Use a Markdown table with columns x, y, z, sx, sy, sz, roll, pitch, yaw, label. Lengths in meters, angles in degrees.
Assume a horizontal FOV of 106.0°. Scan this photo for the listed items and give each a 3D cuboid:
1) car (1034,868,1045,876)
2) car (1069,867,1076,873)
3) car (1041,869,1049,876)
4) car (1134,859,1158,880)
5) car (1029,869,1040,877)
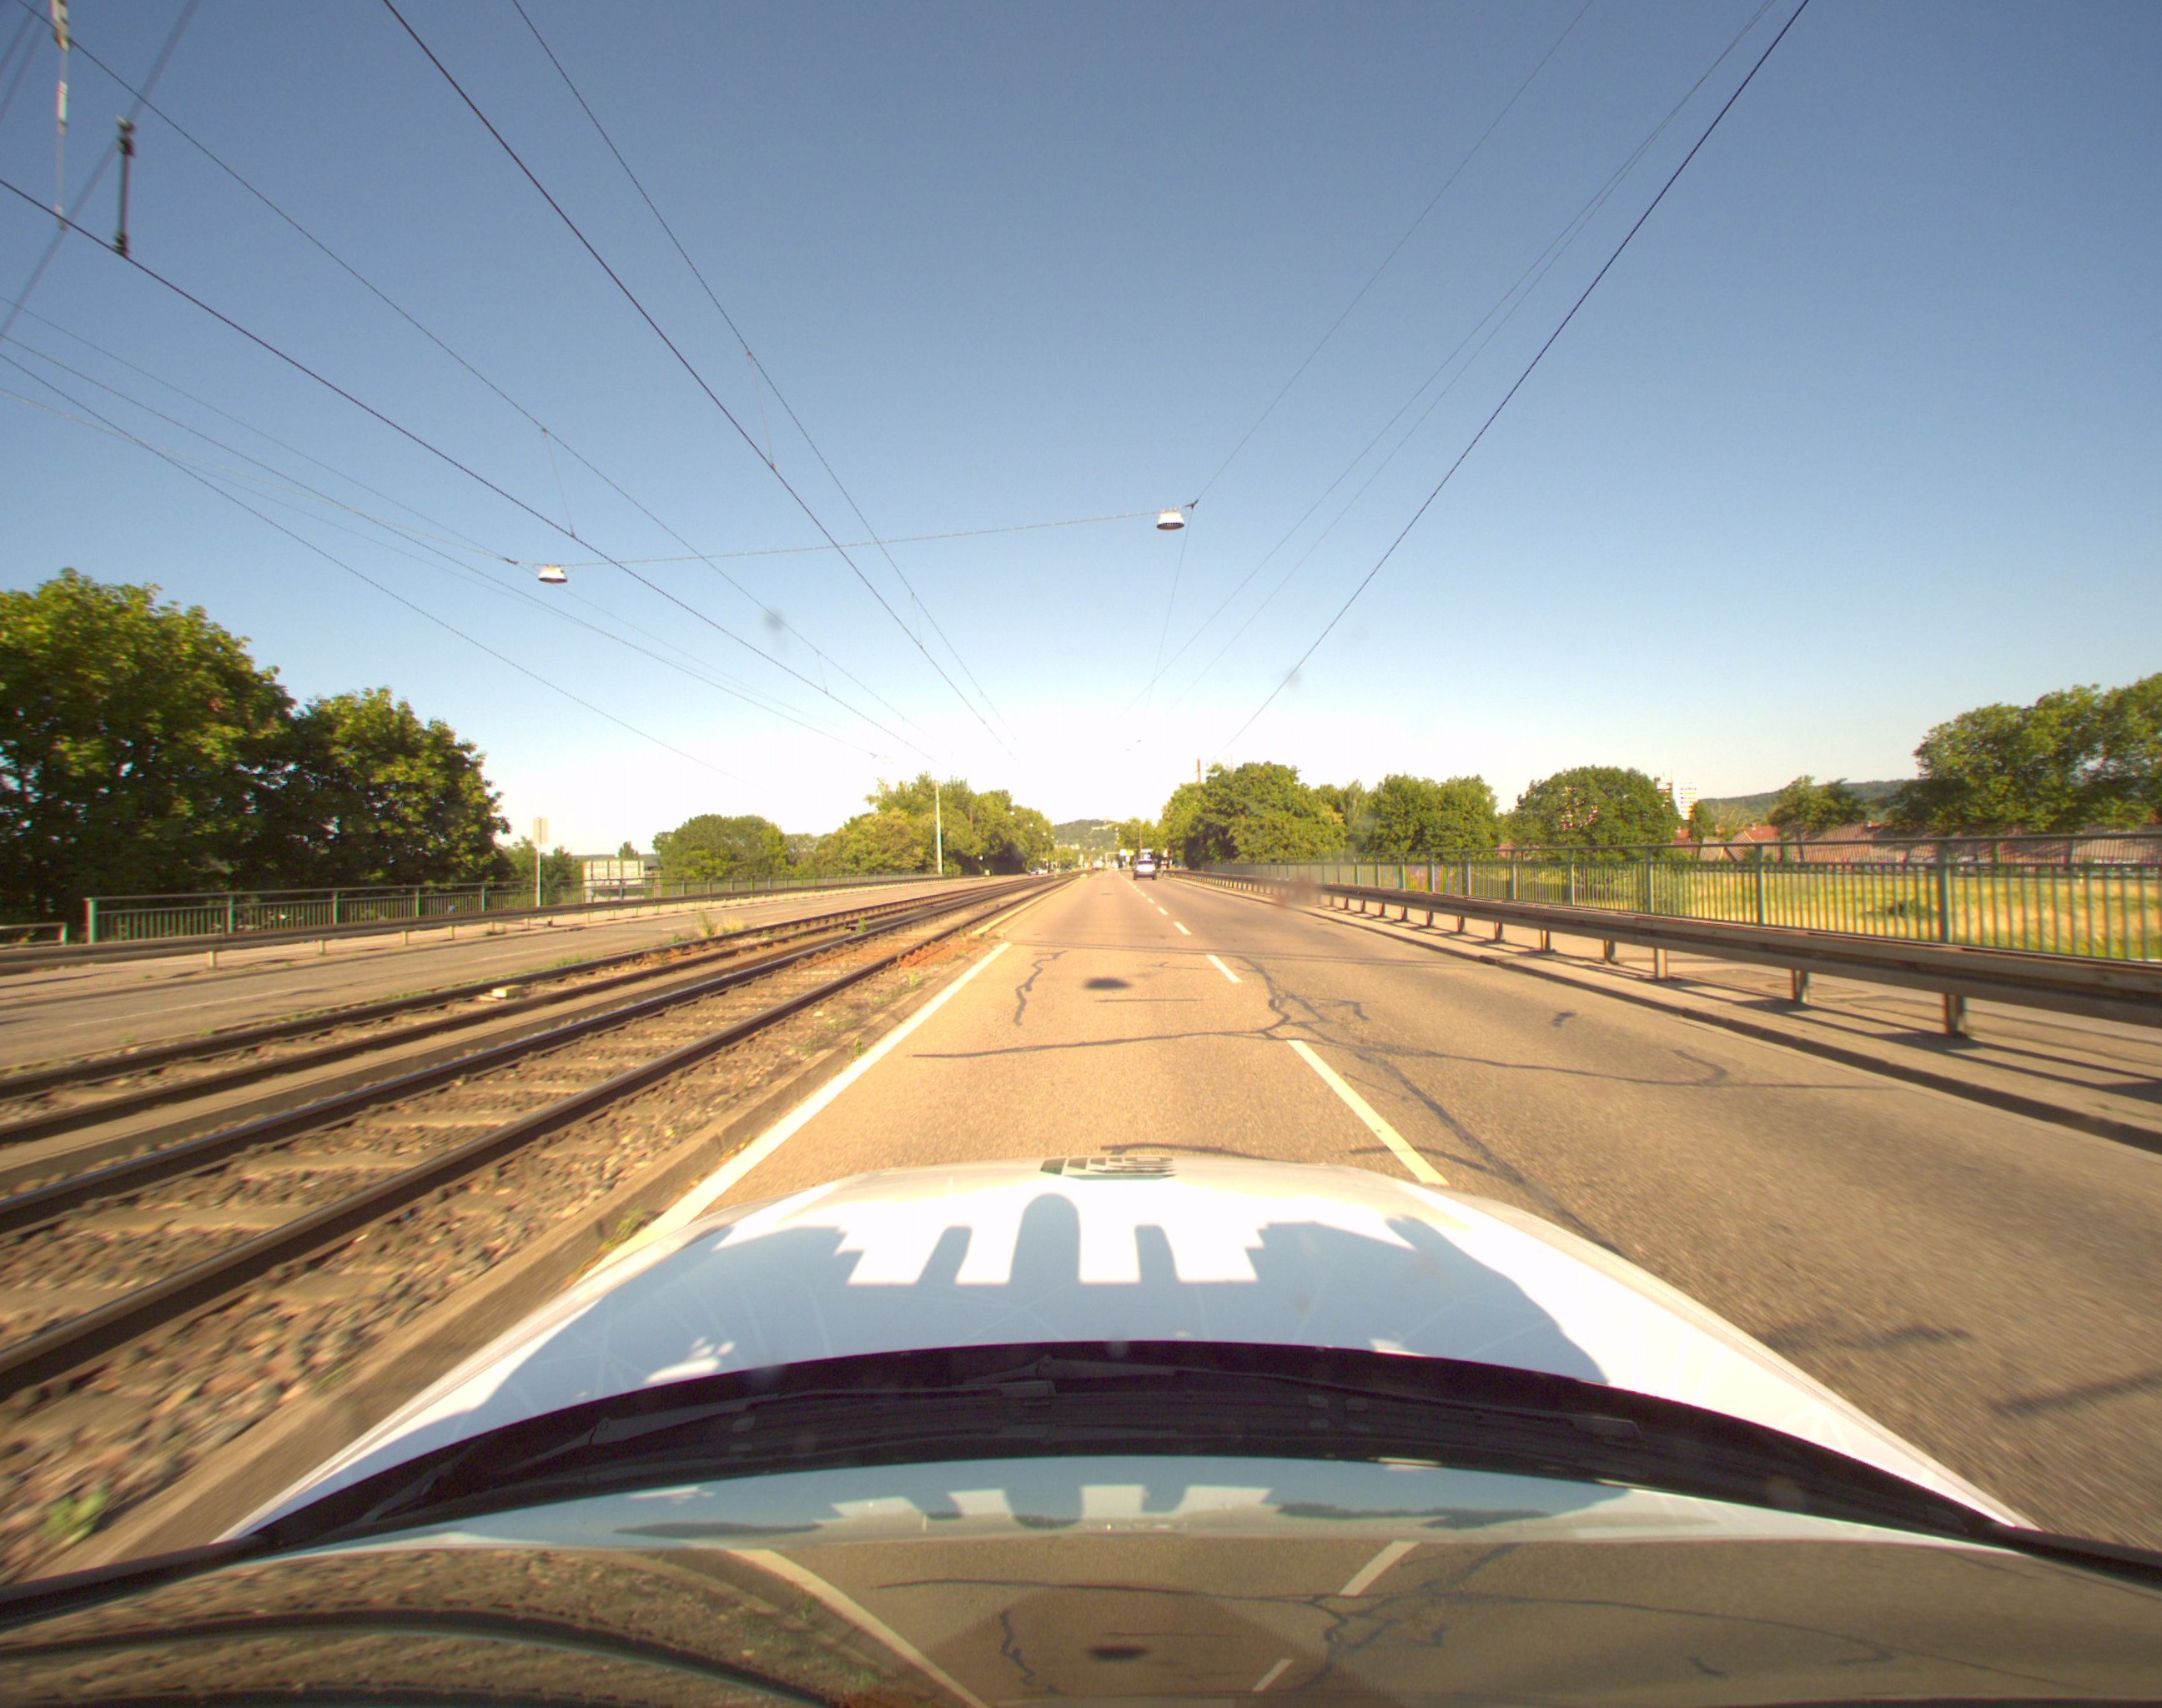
| x | y | z | sx | sy | sz | roll | pitch | yaw | label |
| --- | --- | --- | --- | --- | --- | --- | --- | --- | --- |
| -9.522 | 4.122 | 187.225 | 1.986 | 1.618 | 4.001 | 0 | -1 | 2 | car |
| -2.655 | 4.900 | 249.397 | 1.986 | 1.618 | 4.001 | 0 | -1 | 2 | car |
| -10.665 | 5.564 | 240.025 | 1.979 | 2.057 | 3.947 | 0 | -1 | 2 | car |
| 5.408 | 1.287 | 67.441 | 1.880 | 1.693 | 4.261 | -1 | -1 | 4 | car |
| -9.298 | 3.835 | 162.768 | 1.986 | 1.618 | 4.001 | 0 | -1 | 2 | car |
